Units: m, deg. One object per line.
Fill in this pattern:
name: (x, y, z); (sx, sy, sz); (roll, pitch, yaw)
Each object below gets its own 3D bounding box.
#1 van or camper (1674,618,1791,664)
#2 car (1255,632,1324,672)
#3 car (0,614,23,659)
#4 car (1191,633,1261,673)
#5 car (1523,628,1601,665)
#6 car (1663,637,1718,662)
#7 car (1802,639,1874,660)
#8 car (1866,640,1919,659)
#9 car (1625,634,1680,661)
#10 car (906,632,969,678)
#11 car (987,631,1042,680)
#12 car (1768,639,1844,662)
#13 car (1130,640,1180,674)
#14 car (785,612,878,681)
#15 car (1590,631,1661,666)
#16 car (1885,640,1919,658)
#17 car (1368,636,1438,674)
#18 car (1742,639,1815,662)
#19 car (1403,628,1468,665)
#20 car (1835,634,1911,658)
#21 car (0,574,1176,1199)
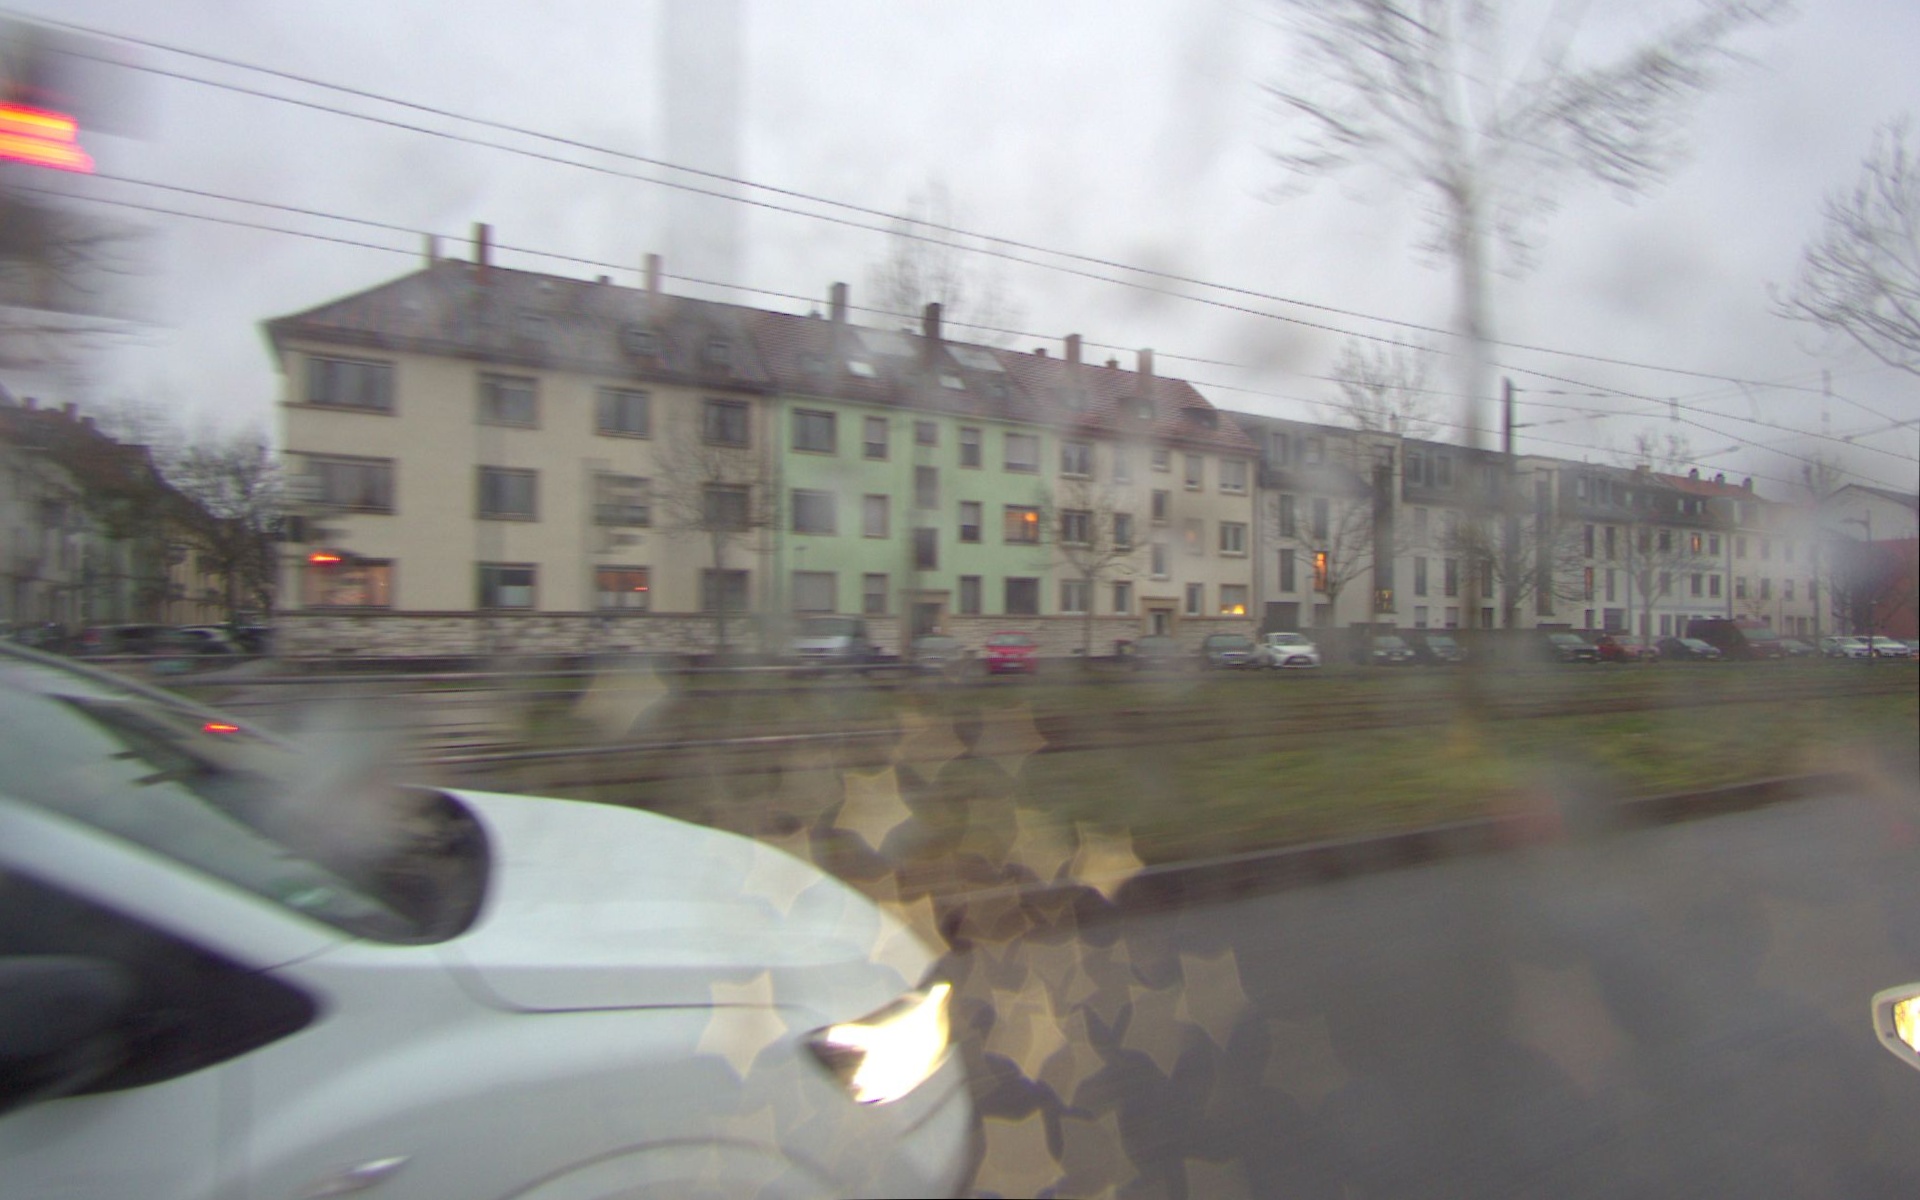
van or camper: (45.678, 2.368, 59.633); (1.960, 2.391, 6.884); (1, 0, 4)
car: (12.526, 1.953, 38.396); (1.702, 1.262, 3.845); (1, 0, 6)
car: (-39.436, 1.476, 40.273); (1.781, 1.731, 3.680); (1, 0, -28)
car: (9.711, 1.905, 36.968); (1.703, 1.188, 3.822); (1, 0, 3)
car: (29.204, 2.228, 48.877); (1.636, 1.561, 4.165); (1, 0, 6)
car: (40.314, 2.713, 55.487); (1.360, 1.220, 2.890); (1, 0, 11)
car: (56.437, 3.166, 64.631); (1.658, 1.162, 3.419); (1, 0, 2)
car: (65.217, 3.422, 70.035); (1.369, 1.162, 3.045); (1, 0, 1)
car: (37.868, 2.574, 54.973); (1.360, 1.320, 3.099); (1, 0, 11)
car: (-0.645, 1.662, 31.081); (1.702, 1.156, 3.573); (1, 0, 3)
car: (1.736, 1.734, 32.455); (1.653, 1.326, 3.581); (1, 0, 3)
car: (53.390, 3.160, 63.465); (1.845, 1.216, 3.541); (1, 0, 2)
car: (6.874, 2.005, 35.646); (1.408, 1.062, 2.393); (0, 0, 3)
car: (-3.671, 1.289, 29.537); (1.796, 1.746, 4.660); (1, 0, 4)
car: (34.526, 2.468, 52.196); (1.707, 1.610, 3.851); (1, 0, 11)
car: (68.091, 3.492, 70.963); (1.648, 1.131, 4.190); (1, 0, 1)
car: (18.522, 2.273, 42.093); (1.703, 1.354, 2.937); (1, 0, 3)
car: (50.726, 3.125, 62.327); (1.713, 1.228, 3.541); (1, 0, 2)
car: (20.746, 2.007, 43.921); (1.636, 1.441, 3.387); (1, 0, 9)
car: (62.194, 3.101, 68.541); (1.737, 1.397, 4.126); (1, 0, 7)
car: (-1.749, 0.703, 1.492); (3.954, 1.494, 1.680); (1, 0, -31)
